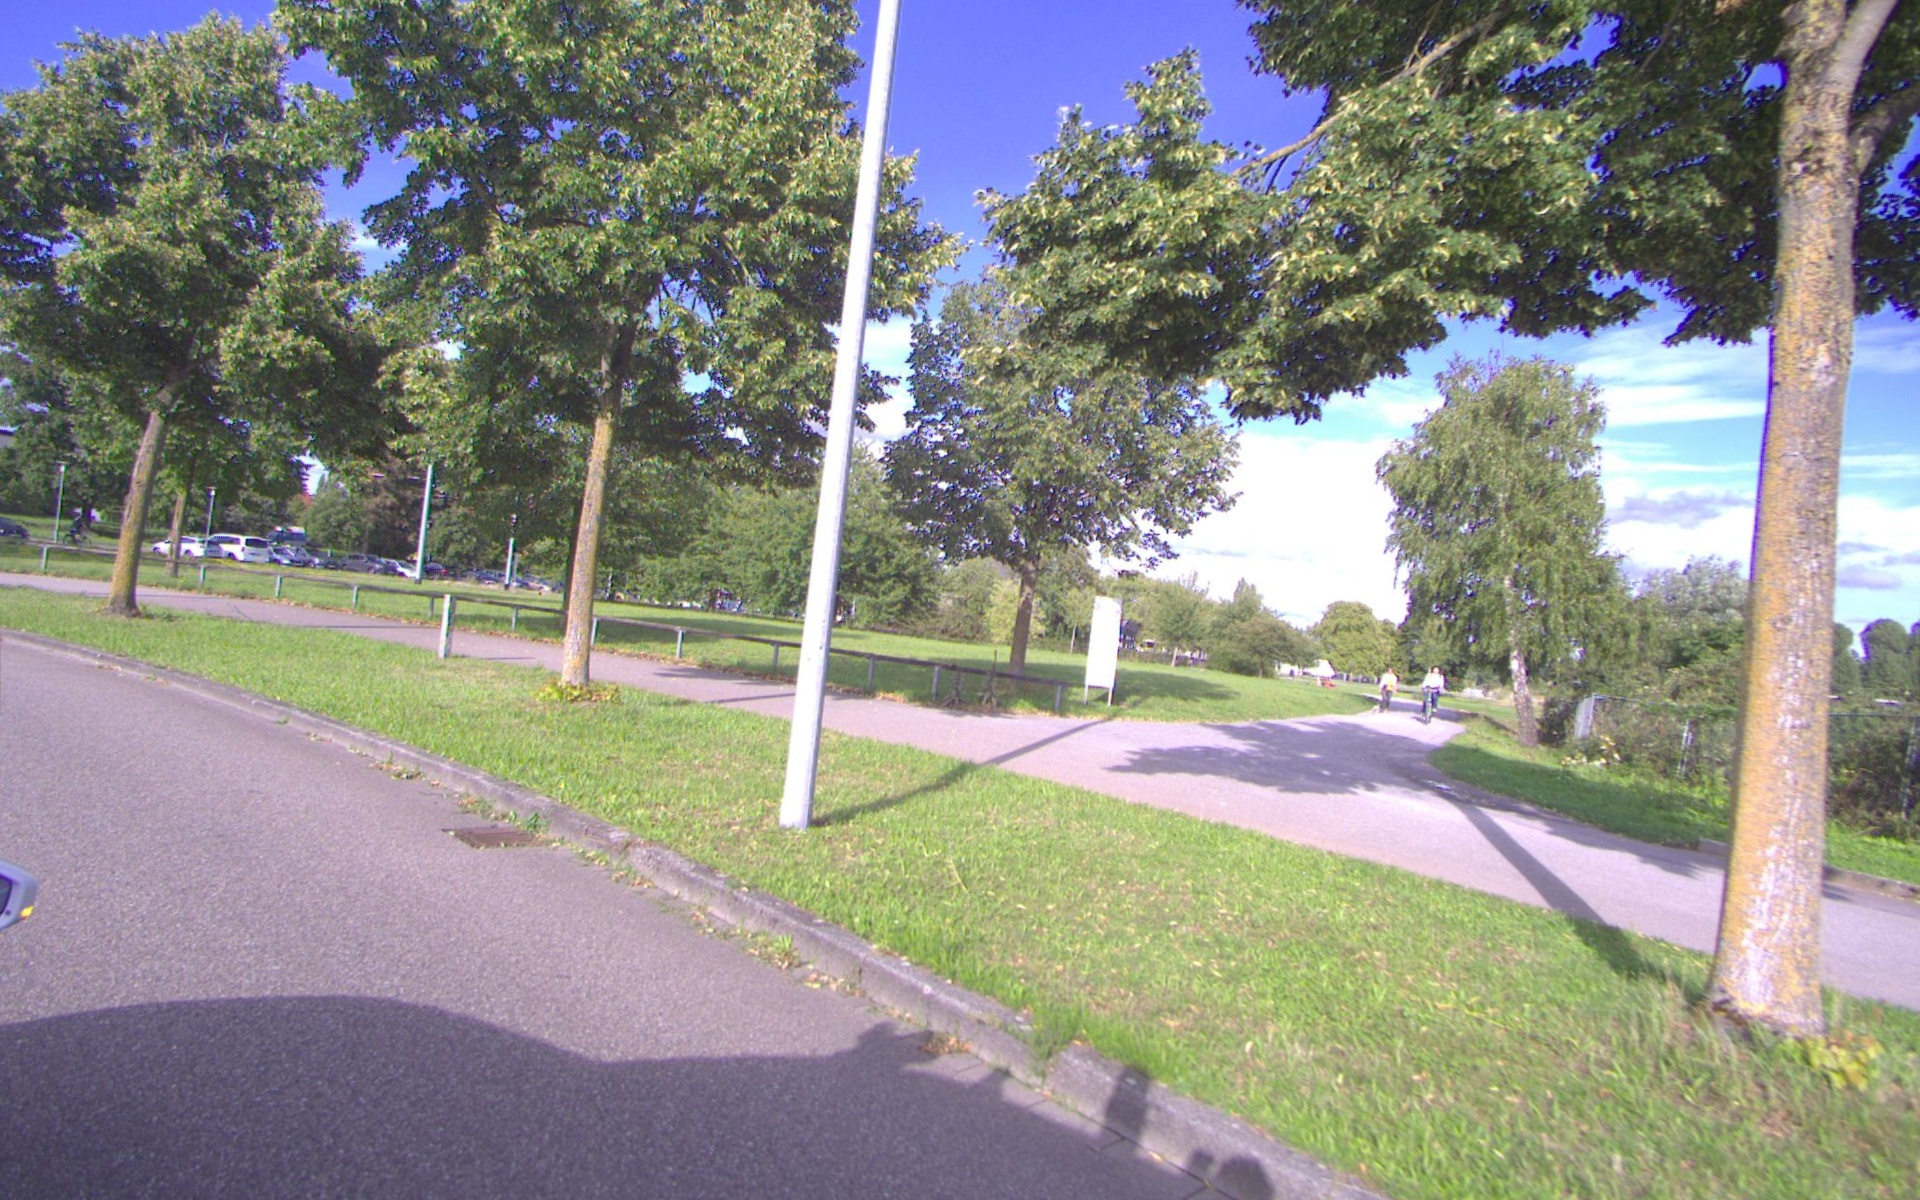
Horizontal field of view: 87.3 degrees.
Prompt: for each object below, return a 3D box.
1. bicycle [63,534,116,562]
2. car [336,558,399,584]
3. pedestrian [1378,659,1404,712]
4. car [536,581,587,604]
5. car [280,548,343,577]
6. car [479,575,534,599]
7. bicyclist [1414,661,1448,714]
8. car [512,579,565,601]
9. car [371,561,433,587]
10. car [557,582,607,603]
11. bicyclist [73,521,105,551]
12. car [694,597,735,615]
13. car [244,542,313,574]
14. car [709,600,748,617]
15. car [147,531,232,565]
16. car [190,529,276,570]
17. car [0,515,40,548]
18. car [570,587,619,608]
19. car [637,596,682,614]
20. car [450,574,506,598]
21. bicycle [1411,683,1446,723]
[{"bbox_3d":[-45.027,-2.692,52.082,0.702,1.237,2.525,6,-1,-8],"label":"bicycle"},{"bbox_3d":[-43.982,-2.172,74.638,4.390,1.415,1.860,6,-1,26],"label":"car"},{"bbox_3d":[14.910,2.963,34.808,0.656,1.753,0.596,6,0,27],"label":"pedestrian"},{"bbox_3d":[-36.810,-0.691,92.940,4.390,1.559,1.858,6,-1,26],"label":"car"},{"bbox_3d":[-45.465,-2.609,70.483,4.043,1.533,2.033,6,-1,31],"label":"car"},{"bbox_3d":[-39.134,-1.086,86.809,4.390,1.559,1.858,6,-1,26],"label":"car"},{"bbox_3d":[14.905,2.763,31.857,0.790,1.566,0.904,6,0,28],"label":"bicyclist"},{"bbox_3d":[-37.928,-0.931,90.551,4.390,1.471,1.858,6,-1,26],"label":"car"},{"bbox_3d":[-42.758,-1.998,77.090,4.390,1.522,1.860,6,-1,26],"label":"car"},{"bbox_3d":[-35.882,-0.721,95.582,4.390,1.559,1.858,6,-1,26],"label":"car"},{"bbox_3d":[-44.981,-3.295,51.966,0.702,1.371,1.004,6,0,-8],"label":"bicyclist"},{"bbox_3d":[-28.067,0.702,114.951,4.397,1.559,1.855,5,-1,33],"label":"car"},{"bbox_3d":[-46.415,-2.861,68.490,4.395,1.694,2.099,6,-1,31],"label":"car"},{"bbox_3d":[-27.169,0.974,118.114,4.397,1.559,1.855,5,-1,33],"label":"car"},{"bbox_3d":[-48.156,-3.230,62.866,4.384,1.534,1.862,6,-1,15],"label":"car"},{"bbox_3d":[-47.363,-3.296,65.560,5.023,2.031,2.315,6,-1,26],"label":"car"},{"bbox_3d":[-51.964,-3.804,54.144,4.388,1.534,1.861,6,-1,23],"label":"car"},{"bbox_3d":[-35.603,-0.219,97.945,4.390,1.559,1.858,6,-1,26],"label":"car"},{"bbox_3d":[-32.036,0.527,107.188,4.388,1.493,1.799,6,-1,23],"label":"car"},{"bbox_3d":[-40.518,-1.184,84.564,4.390,1.534,1.802,6,-1,26],"label":"car"},{"bbox_3d":[14.875,3.238,31.903,0.790,1.139,2.599,6,-1,28],"label":"bicycle"}]
